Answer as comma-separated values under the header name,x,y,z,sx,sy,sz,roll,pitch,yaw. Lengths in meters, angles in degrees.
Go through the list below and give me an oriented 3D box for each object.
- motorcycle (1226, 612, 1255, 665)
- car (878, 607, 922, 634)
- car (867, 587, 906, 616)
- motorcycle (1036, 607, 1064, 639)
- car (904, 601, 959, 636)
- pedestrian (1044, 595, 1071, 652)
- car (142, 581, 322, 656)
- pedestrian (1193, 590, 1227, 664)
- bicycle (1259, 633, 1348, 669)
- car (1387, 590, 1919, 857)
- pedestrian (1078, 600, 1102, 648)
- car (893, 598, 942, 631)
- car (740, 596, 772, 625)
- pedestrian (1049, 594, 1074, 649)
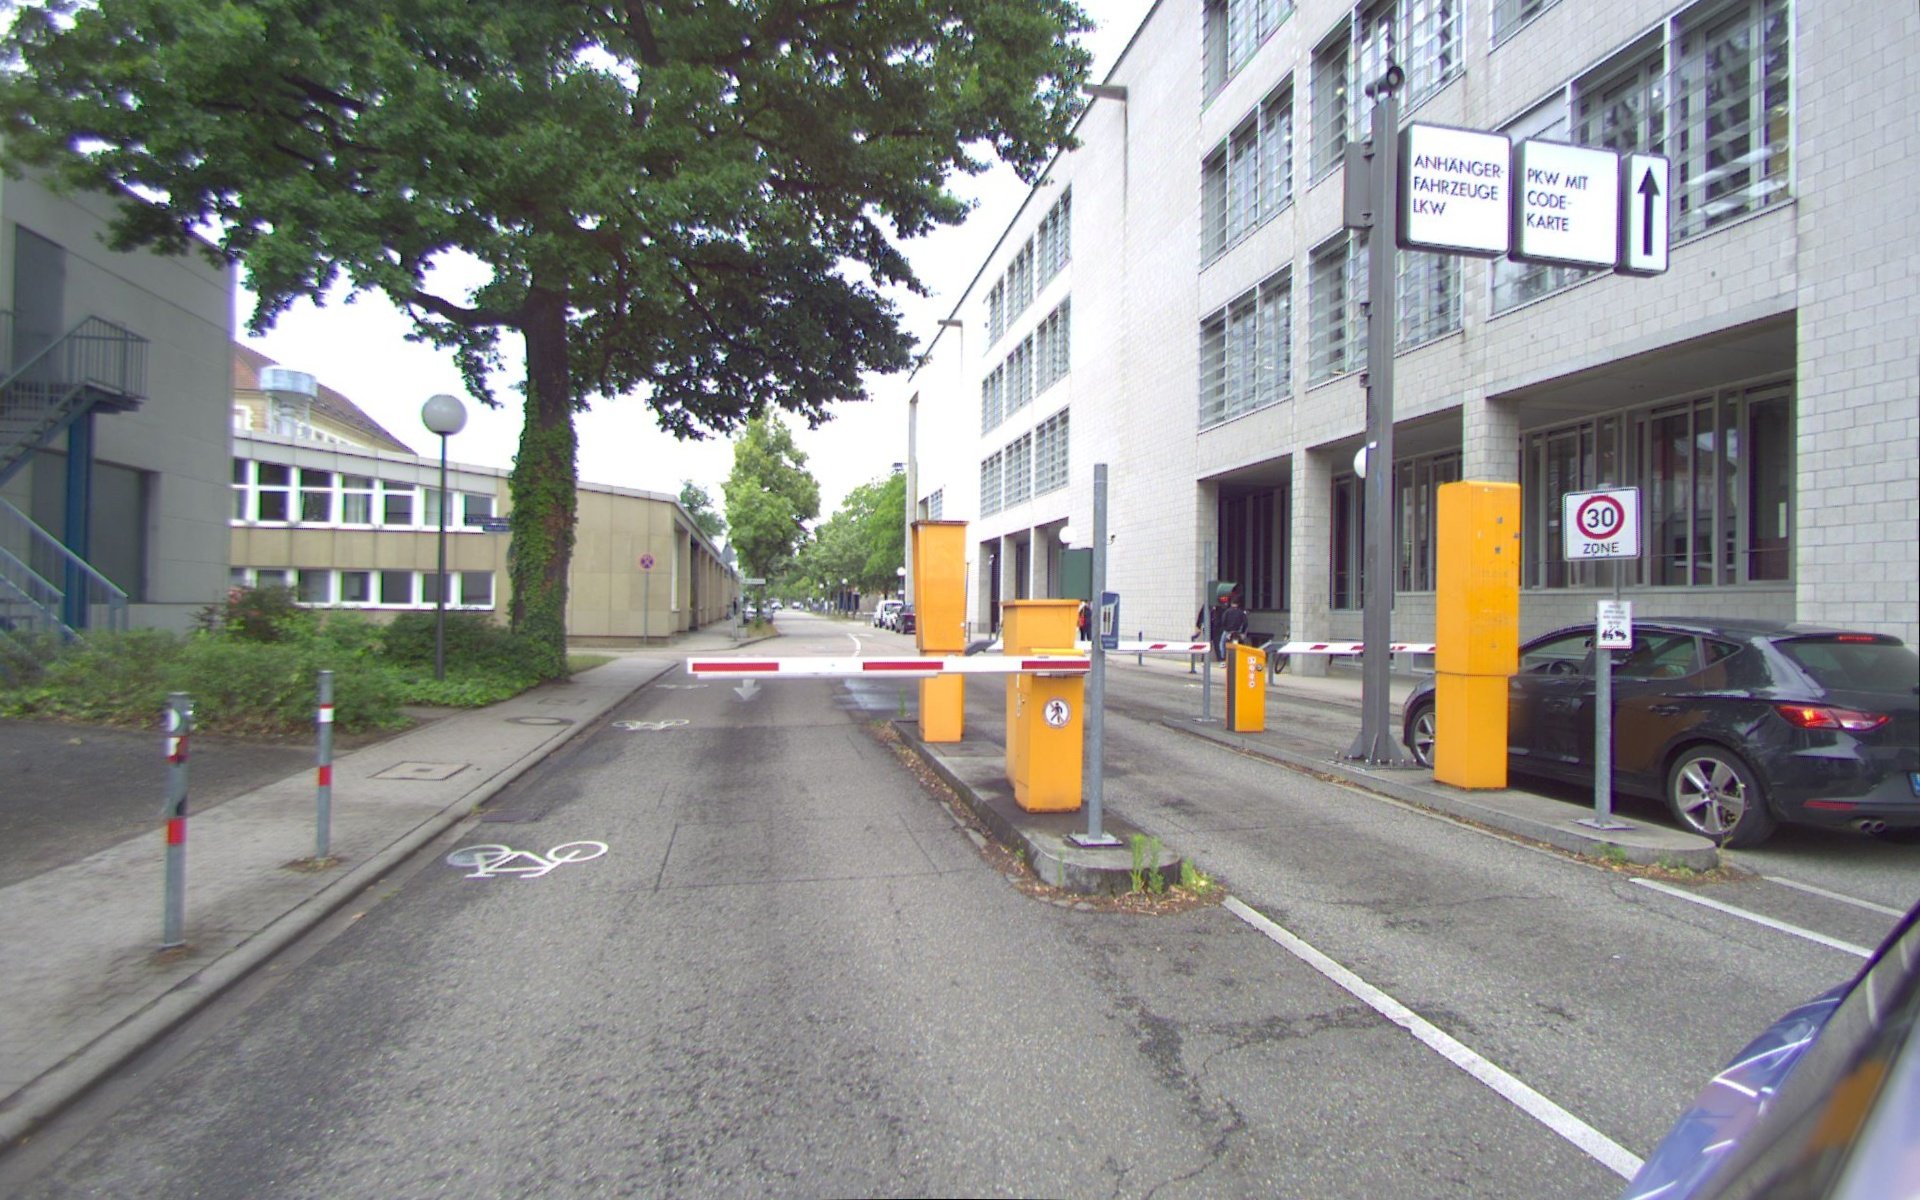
name,x,y,z,sx,sy,sz,roll,pitch,yaw
motorcycle,6.982,0.939,25.254,0.559,1.162,2.208,2,2,13
car,-3.591,1.198,59.992,1.958,1.482,4.436,-1,0,-12
car,-4.822,0.084,66.278,1.958,1.804,4.436,-1,0,-12
motorcycle,3.726,0.917,41.683,0.750,1.162,2.652,2,2,13
car,-1.454,0.880,49.749,1.958,1.643,4.435,0,-1,-12
pedestrian,3.022,0.716,31.406,0.684,1.736,0.490,1,-1,-8
car,-16.357,0.390,23.008,1.830,1.549,4.007,1,0,-12
pedestrian,5.996,0.642,24.280,0.600,1.736,0.575,0,-1,-12
bicycle,7.557,1.118,22.254,1.863,0.707,0.494,2,1,-14
car,5.299,0.681,7.658,1.751,1.437,4.137,1,0,-12
pedestrian,4.250,0.788,33.025,0.632,1.546,0.473,1,-1,-9
car,-2.340,0.737,54.201,1.958,1.643,4.435,-1,0,-11
car,-12.124,0.620,59.979,1.739,1.621,4.007,1,0,-12
pedestrian,3.267,0.696,32.574,0.684,1.736,0.490,1,-1,-7
